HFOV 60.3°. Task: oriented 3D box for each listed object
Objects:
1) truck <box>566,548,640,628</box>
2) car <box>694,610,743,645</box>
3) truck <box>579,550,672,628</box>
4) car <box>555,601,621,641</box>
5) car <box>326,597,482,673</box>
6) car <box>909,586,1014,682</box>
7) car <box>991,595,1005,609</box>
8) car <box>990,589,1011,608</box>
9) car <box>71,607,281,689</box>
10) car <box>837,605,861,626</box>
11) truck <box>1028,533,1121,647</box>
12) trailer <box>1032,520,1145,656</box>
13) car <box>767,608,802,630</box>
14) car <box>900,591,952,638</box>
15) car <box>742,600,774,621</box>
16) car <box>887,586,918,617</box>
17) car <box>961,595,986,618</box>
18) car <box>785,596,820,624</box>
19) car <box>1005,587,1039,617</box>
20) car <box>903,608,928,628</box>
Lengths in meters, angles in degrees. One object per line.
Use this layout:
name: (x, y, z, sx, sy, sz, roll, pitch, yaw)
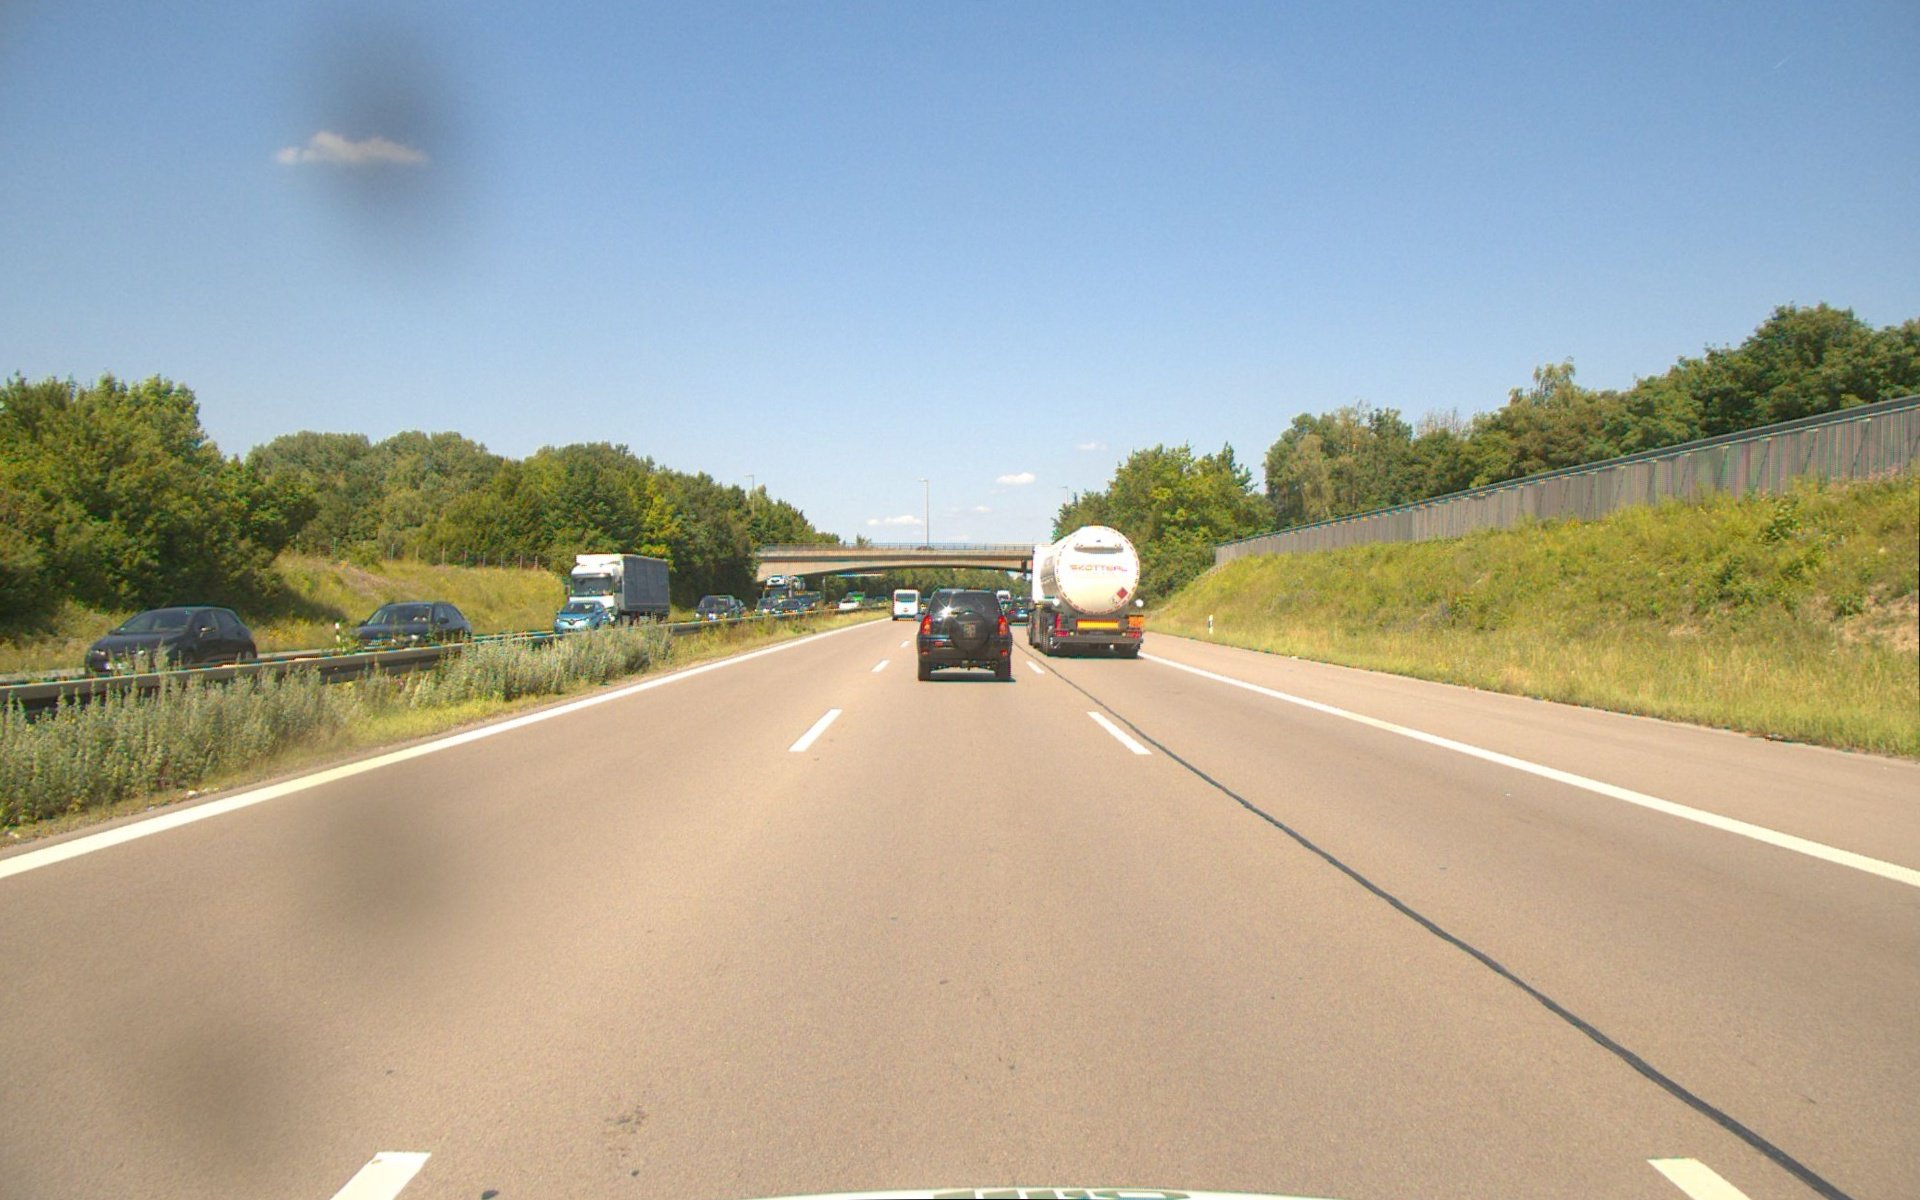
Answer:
truck: (-19.368, -0.633, 89.979, 2.618, 4.149, 6.075, -2, 0, -1)
car: (-11.766, 1.327, 80.808, 1.821, 1.628, 4.720, -1, 0, -1)
truck: (-19.379, -0.596, 96.702, 2.618, 4.149, 13.957, -2, 0, -1)
car: (-15.011, 0.818, 66.949, 1.758, 1.536, 4.349, -1, 0, -1)
car: (-12.163, 0.722, 36.542, 1.857, 1.452, 4.762, -3, 0, -1)
car: (0.013, 0.614, 31.512, 1.867, 1.694, 3.999, 0, 0, 0)
car: (5.212, 0.256, 226.284, 1.775, 1.777, 3.999, -1, 0, -1)
car: (3.920, -0.162, 158.971, 1.952, 1.811, 4.261, -1, 0, 1)
car: (-15.209, 0.880, 32.392, 1.857, 1.363, 4.762, -3, 0, -1)
car: (-10.779, 1.522, 160.328, 1.952, 2.049, 4.913, 0, -1, 0)
truck: (3.613, -0.303, 53.329, 2.583, 3.434, 6.487, 1, 0, 1)
trailer: (3.521, -0.290, 47.758, 2.593, 3.449, 11.153, 1, 0, 1)
car: (-11.892, 1.281, 112.463, 1.836, 1.464, 5.018, -1, 0, 0)
car: (-1.362, 0.573, 65.307, 1.953, 1.736, 4.334, -1, 0, -2)
car: (-16.104, 0.828, 132.242, 1.924, 1.669, 4.895, -1, 0, 0)
car: (-3.847, 0.126, 111.883, 1.953, 2.049, 4.948, -1, 0, -1)
car: (1.015, 0.526, 123.756, 1.804, 1.640, 4.000, 0, -1, 2)
car: (-11.685, 0.704, 122.778, 2.047, 1.979, 5.688, -1, 0, 0)
car: (3.694, 0.109, 99.037, 1.952, 1.713, 4.000, 0, -1, 0)
car: (-3.537, 1.444, 132.194, 1.953, 1.579, 3.999, 0, -1, 0)
